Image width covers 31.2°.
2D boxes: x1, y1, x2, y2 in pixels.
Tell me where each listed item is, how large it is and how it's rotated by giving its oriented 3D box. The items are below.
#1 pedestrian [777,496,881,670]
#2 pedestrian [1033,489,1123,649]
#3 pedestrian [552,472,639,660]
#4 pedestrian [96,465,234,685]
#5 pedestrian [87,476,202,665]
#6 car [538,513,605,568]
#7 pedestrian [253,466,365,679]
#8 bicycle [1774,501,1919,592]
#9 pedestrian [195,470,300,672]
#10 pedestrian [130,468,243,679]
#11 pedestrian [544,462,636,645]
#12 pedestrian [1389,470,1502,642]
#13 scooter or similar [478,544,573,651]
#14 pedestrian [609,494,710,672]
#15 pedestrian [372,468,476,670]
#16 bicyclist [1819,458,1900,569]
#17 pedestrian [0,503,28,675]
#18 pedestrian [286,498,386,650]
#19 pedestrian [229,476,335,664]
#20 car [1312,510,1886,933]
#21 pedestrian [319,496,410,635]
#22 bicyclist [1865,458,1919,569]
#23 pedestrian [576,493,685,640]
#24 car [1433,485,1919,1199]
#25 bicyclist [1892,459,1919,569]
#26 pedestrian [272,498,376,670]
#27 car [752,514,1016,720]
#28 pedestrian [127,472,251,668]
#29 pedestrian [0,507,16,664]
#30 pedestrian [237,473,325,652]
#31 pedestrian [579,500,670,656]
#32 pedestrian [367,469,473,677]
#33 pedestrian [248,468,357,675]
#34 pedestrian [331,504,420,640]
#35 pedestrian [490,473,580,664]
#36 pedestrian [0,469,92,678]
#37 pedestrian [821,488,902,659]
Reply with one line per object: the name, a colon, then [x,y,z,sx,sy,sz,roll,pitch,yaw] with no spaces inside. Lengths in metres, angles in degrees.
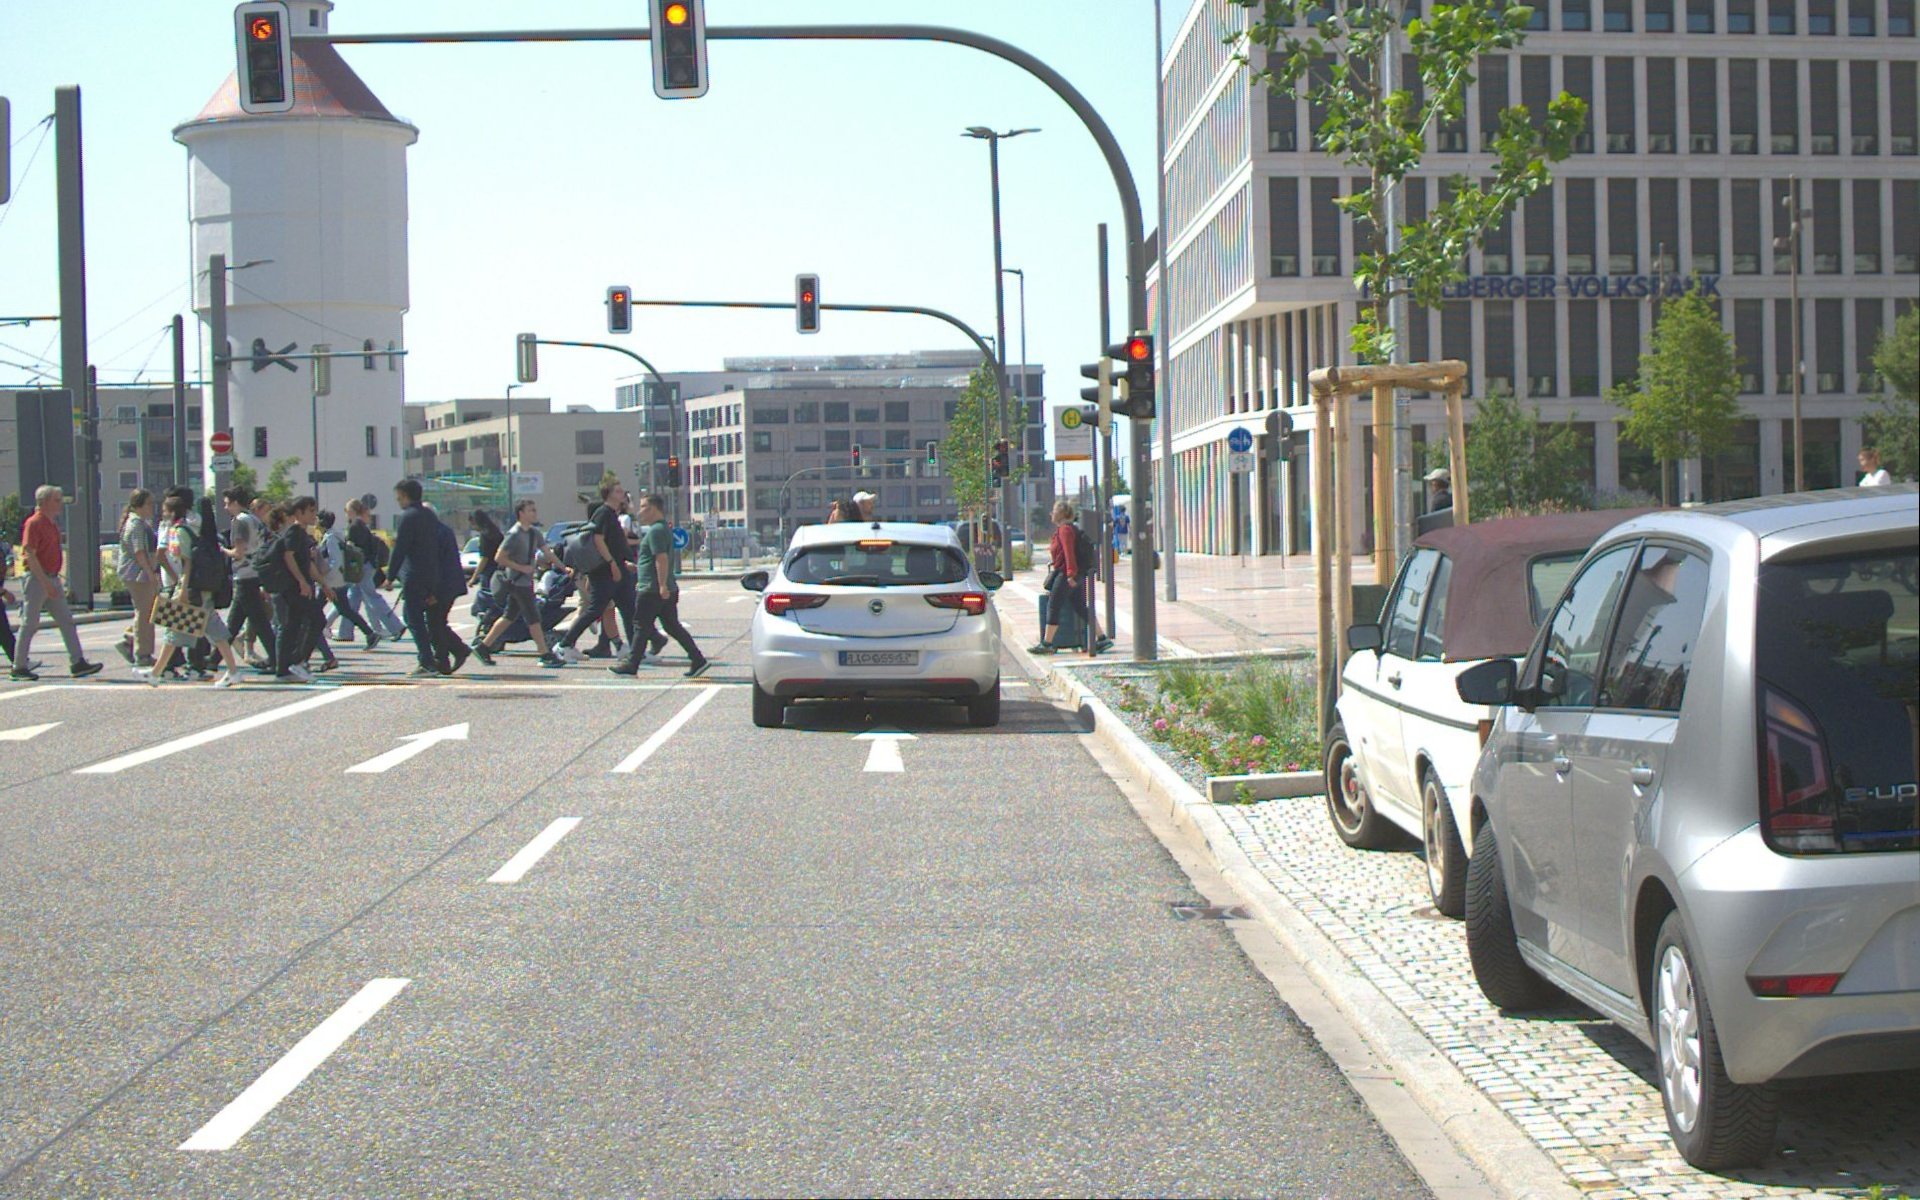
pedestrian: [-1.230,-0.167,32.422,0.767,1.614,0.691,-1,1,16]
pedestrian: [1.242,-0.335,36.047,0.888,1.641,0.796,-1,1,3]
pedestrian: [-3.726,-0.355,35.166,0.766,1.884,0.692,-1,1,0]
pedestrian: [-6.975,-0.226,30.215,1.013,1.884,0.798,-1,1,-3]
pedestrian: [-8.255,-0.305,34.831,0.888,1.884,0.796,-1,1,4]
car: [-11.107,-1.689,98.452,1.586,1.525,3.693,0,0,-2]
pedestrian: [-5.871,-0.255,31.022,0.887,1.884,0.692,-1,1,-5]
bicycle: [11.205,-0.673,42.585,1.961,1.080,0.905,-1,1,-12]
pedestrian: [-6.800,-0.283,32.837,0.730,1.884,0.821,-1,1,5]
pedestrian: [-7.048,-0.244,31.359,0.887,1.884,0.692,-1,1,-5]
pedestrian: [-3.869,-0.488,35.968,0.841,1.884,0.692,-1,1,0]
pedestrian: [4.764,-0.438,33.762,0.990,1.649,0.692,-1,1,1]
scooter or similar: [-4.680,-0.030,36.981,0.950,1.114,0.767,-1,1,-10]
pedestrian: [-2.805,-0.165,32.052,0.887,1.629,0.692,-1,1,-5]
pedestrian: [-5.088,-0.301,32.697,0.887,1.884,0.796,-1,1,-5]
bicyclist: [11.137,-1.068,42.564,0.615,1.355,0.901,-1,1,-12]
pedestrian: [-9.329,-0.106,32.678,0.633,1.612,0.768,-1,1,5]
pedestrian: [-6.881,-0.297,37.938,0.888,1.641,0.796,-1,1,3]
pedestrian: [-6.940,-0.314,35.226,0.888,1.884,0.796,-1,1,0]
car: [2.341,0.354,13.484,1.429,1.385,4.000,-1,1,-1]
pedestrian: [-7.154,-0.425,41.350,0.888,1.641,0.796,-1,1,3]
bicyclist: [11.622,-1.077,42.664,0.358,1.355,0.914,-1,1,-12]
pedestrian: [-4.181,-0.433,43.702,1.181,1.814,1.068,-1,1,3]
car: [2.268,0.446,8.828,1.556,1.467,3.470,-1,1,-1]
bicyclist: [11.978,-1.073,42.748,0.358,1.355,0.902,-1,1,-11]
pedestrian: [-6.180,-0.166,33.444,0.794,1.641,0.891,-1,1,2]
car: [-0.491,0.112,25.232,1.771,1.390,3.532,1,0,1]
pedestrian: [-7.561,-0.299,33.737,0.888,1.884,0.796,-1,1,12]
pedestrian: [-10.420,-0.146,35.738,0.911,1.631,0.814,-1,1,4]
pedestrian: [-7.220,-0.401,36.577,0.734,1.884,0.713,1,1,4]
pedestrian: [-3.633,-0.245,37.162,0.887,1.641,0.796,-1,1,-10]
pedestrian: [-5.002,-0.258,31.889,0.887,1.884,0.796,-1,1,-5]
pedestrian: [-6.081,-0.271,31.835,0.887,1.884,0.692,-1,1,-5]
pedestrian: [-7.195,-0.353,42.384,0.888,1.641,0.796,-1,1,3]
pedestrian: [-4.248,-0.319,34.410,0.766,1.884,0.692,-1,1,0]
pedestrian: [-8.515,-0.249,31.637,0.887,1.884,0.692,-1,1,-5]
pedestrian: [-1.009,-0.277,35.304,0.766,1.728,0.692,-1,1,0]
